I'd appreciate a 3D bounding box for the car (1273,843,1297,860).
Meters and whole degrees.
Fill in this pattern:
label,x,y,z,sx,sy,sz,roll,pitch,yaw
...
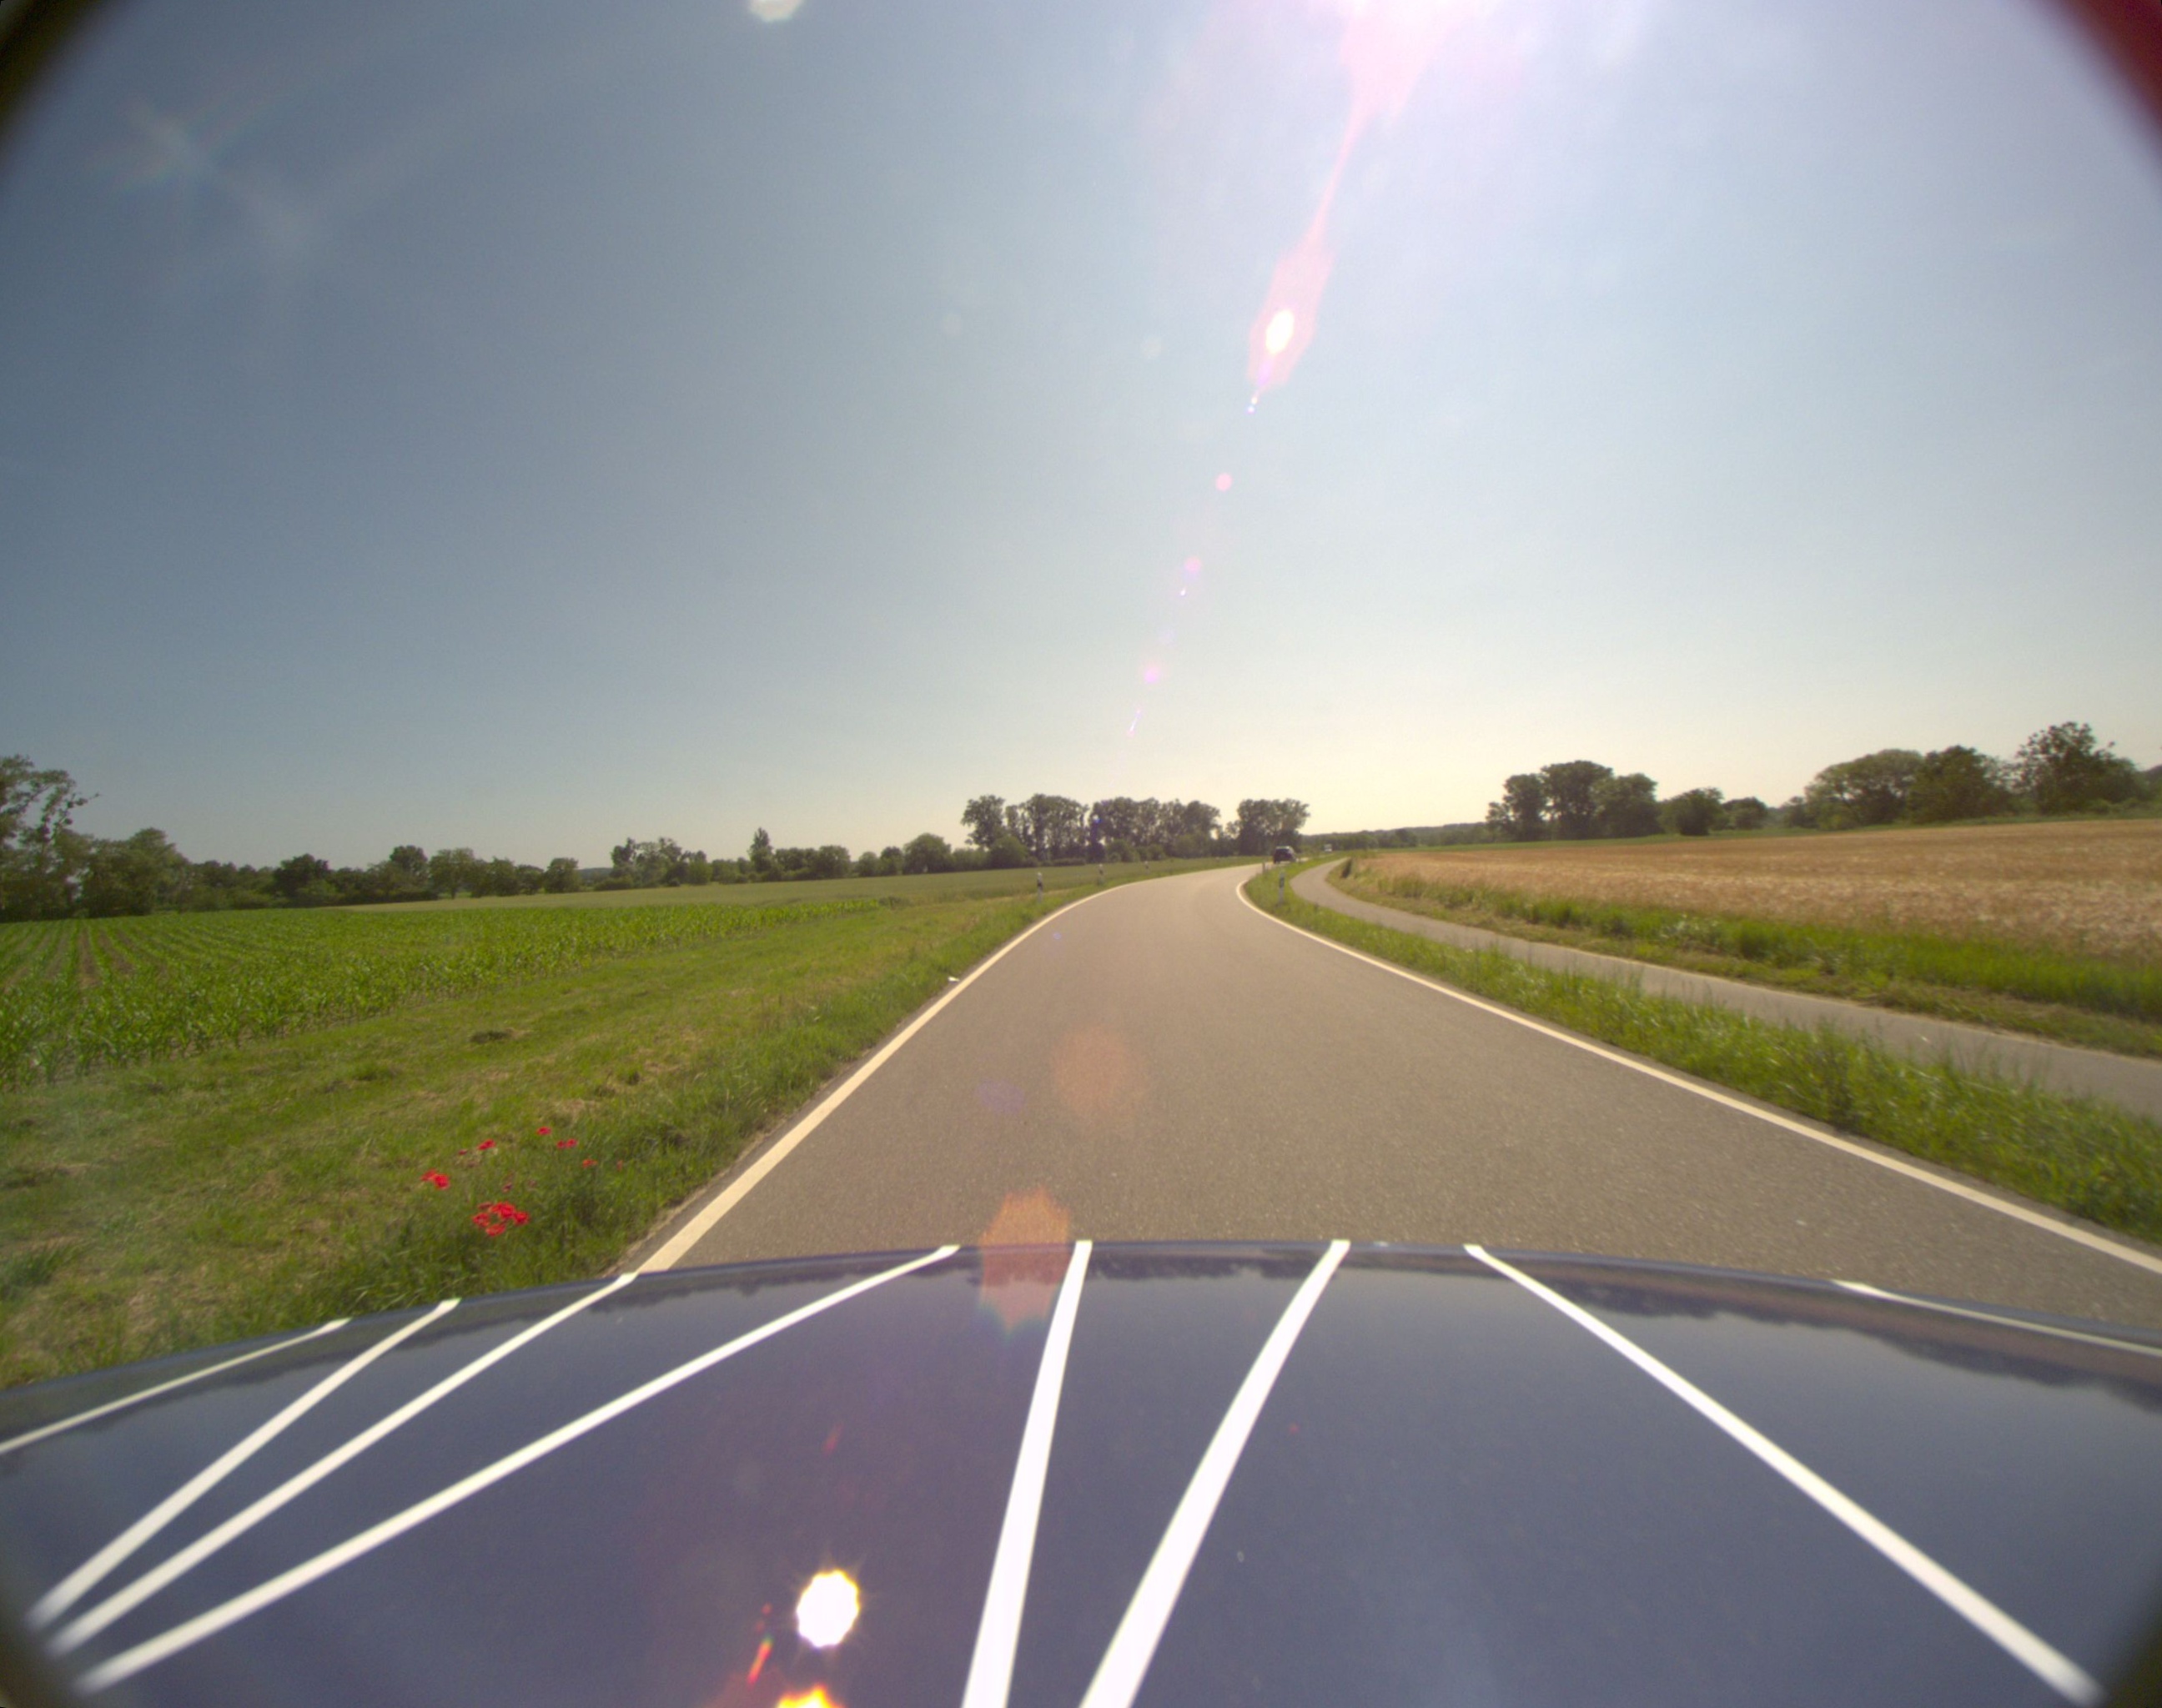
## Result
label,x,y,z,sx,sy,sz,roll,pitch,yaw
car,21.245,-0.270,78.893,1.889,1.704,4.020,-2,0,22

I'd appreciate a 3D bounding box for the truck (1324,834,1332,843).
label,x,y,z,sx,sy,sz,roll,pitch,yaw
truck,77.872,-4.812,239.255,1.996,2.821,5.225,-3,0,22
